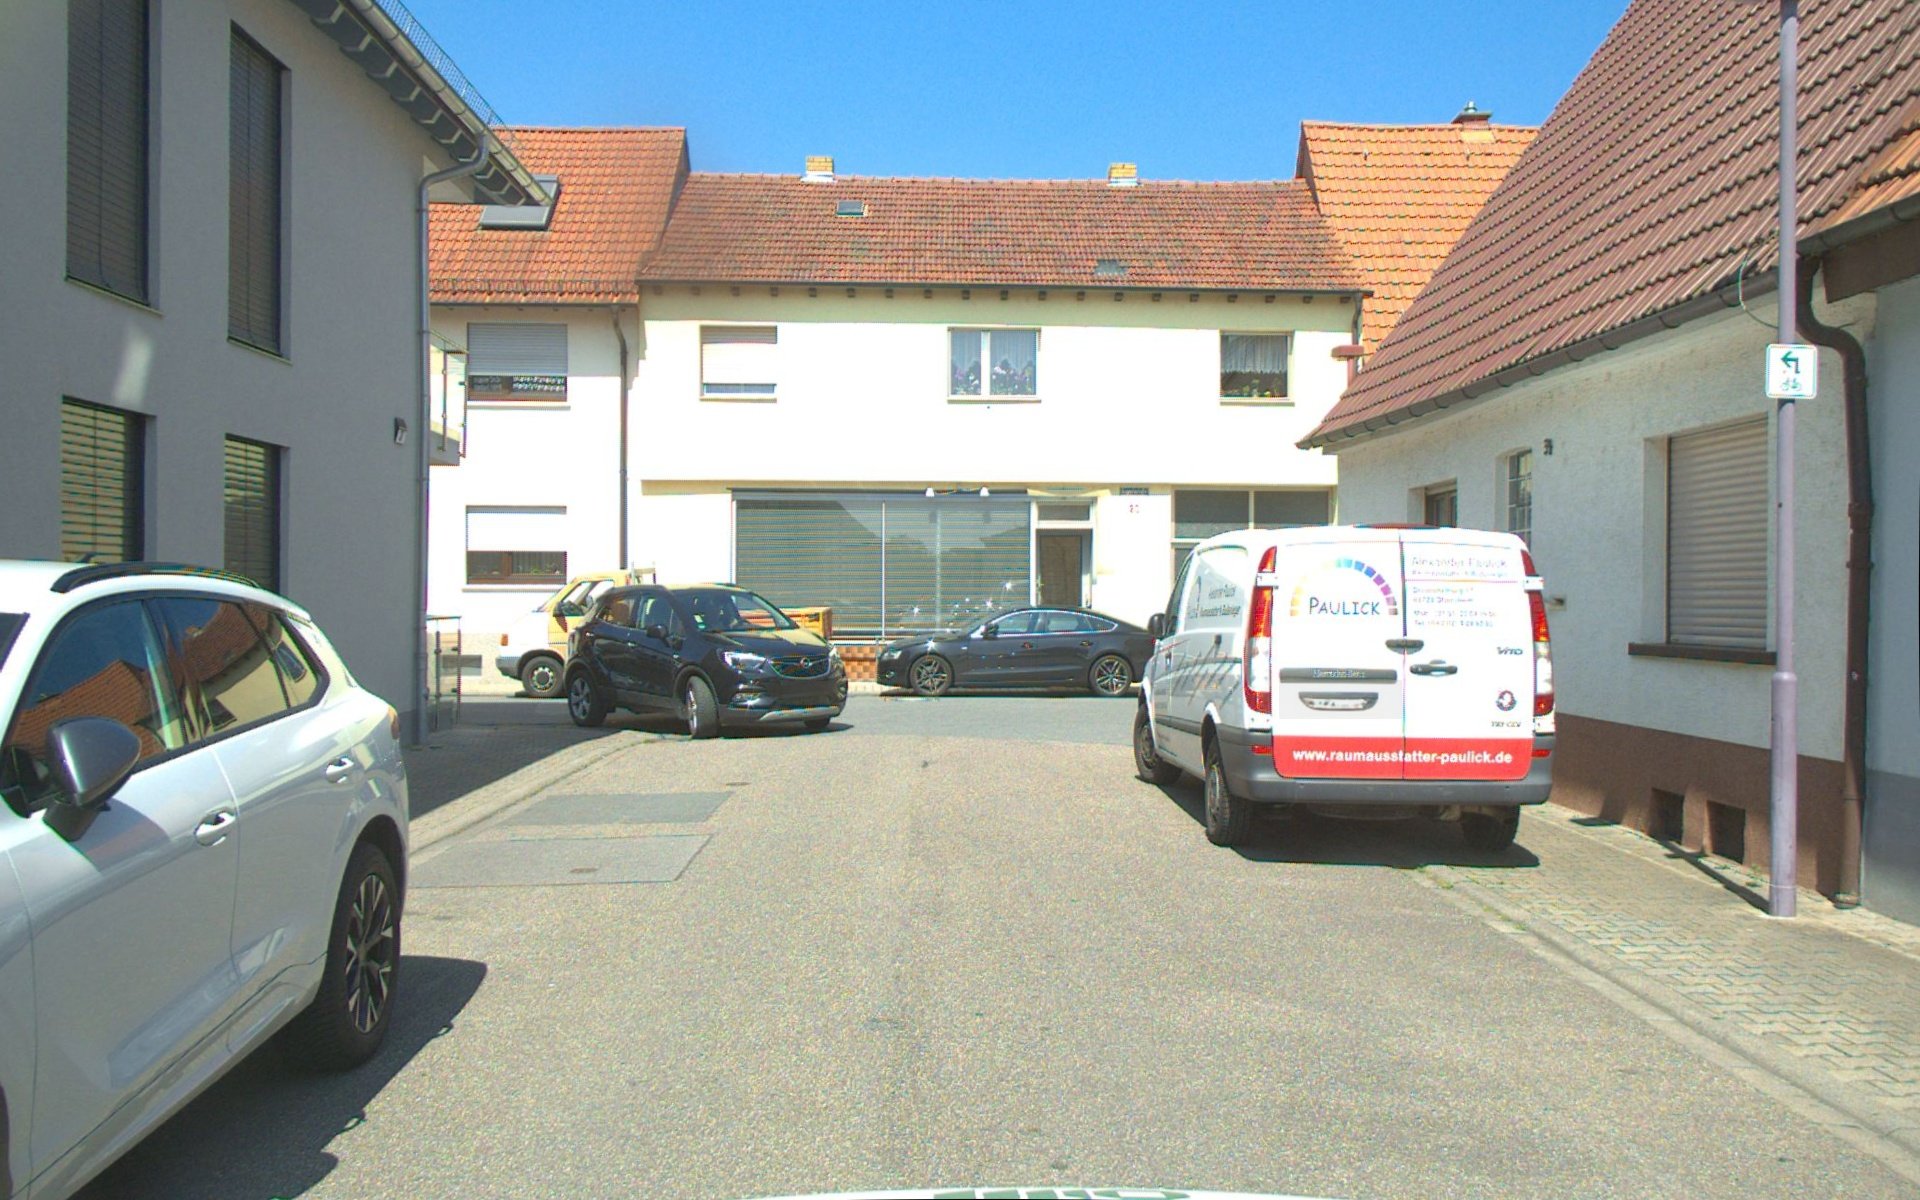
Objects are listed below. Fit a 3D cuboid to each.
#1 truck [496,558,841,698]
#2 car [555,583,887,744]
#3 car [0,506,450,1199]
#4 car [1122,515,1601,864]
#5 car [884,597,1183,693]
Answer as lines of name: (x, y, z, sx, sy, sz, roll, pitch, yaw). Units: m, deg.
truck: (-4.411, 0.426, 25.722, 4.960, 2.049, 2.189, 1, -1, -1)
car: (-2.838, 0.649, 18.944, 1.747, 1.610, 4.215, -1, 1, -42)
car: (-2.607, 0.669, 3.808, 1.739, 1.643, 4.346, -1, 0, -4)
car: (2.453, 0.486, 11.664, 1.972, 1.871, 5.264, 1, 0, -1)
car: (1.087, 0.732, 25.958, 4.524, 1.419, 1.927, 1, -3, -3)
